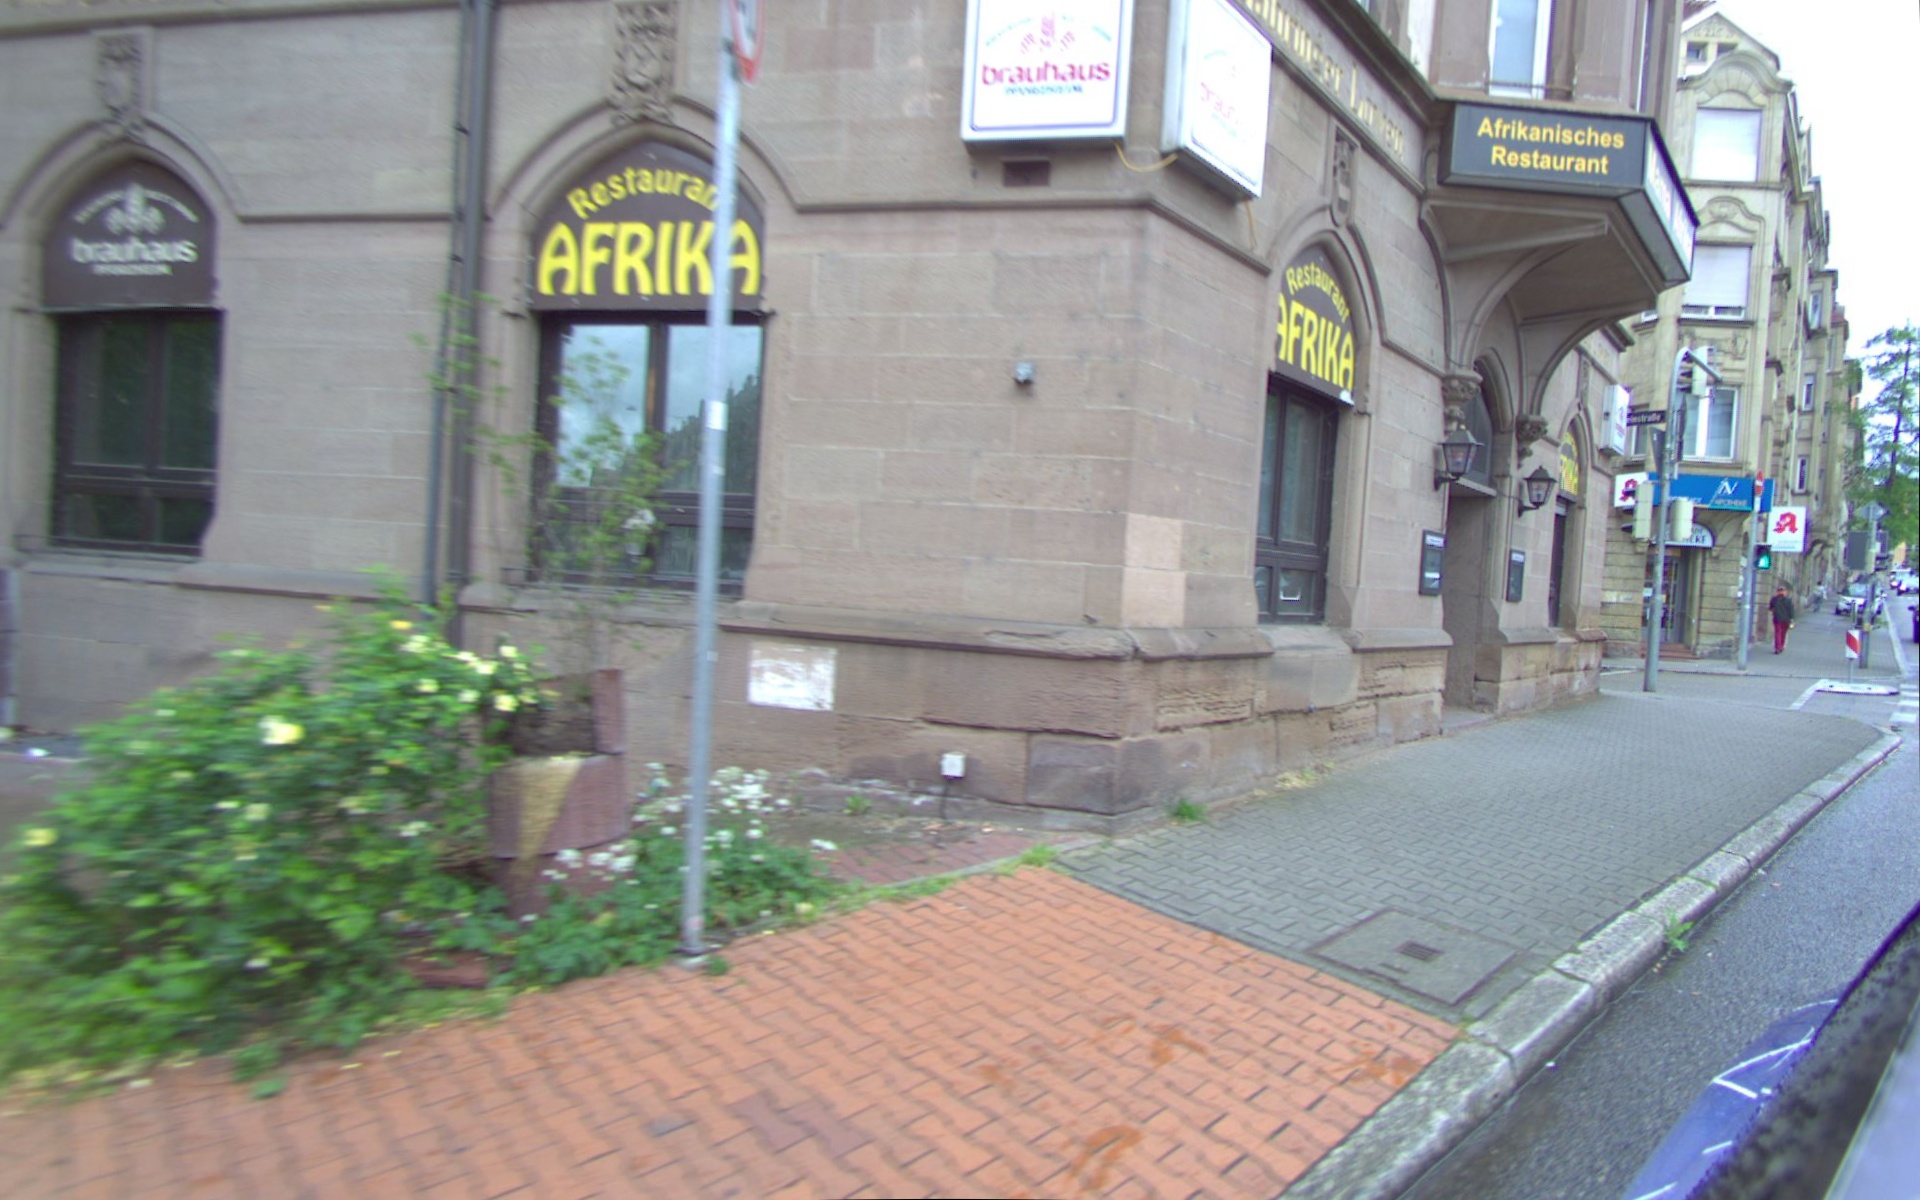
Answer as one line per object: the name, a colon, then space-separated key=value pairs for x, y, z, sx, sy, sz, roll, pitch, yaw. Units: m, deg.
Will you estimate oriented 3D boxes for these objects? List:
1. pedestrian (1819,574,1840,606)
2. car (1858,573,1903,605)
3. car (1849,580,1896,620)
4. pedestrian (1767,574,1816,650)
pedestrian: x=43.410 y=-0.510 z=50.535 sx=0.643 sy=1.513 sz=0.681 roll=7 pitch=9 yaw=42
car: x=48.722 y=-0.613 z=53.577 sx=1.544 sy=1.503 sz=3.706 roll=8 pitch=7 yaw=42
car: x=45.069 y=-0.018 z=50.012 sx=1.523 sy=1.636 sz=3.441 roll=8 pitch=8 yaw=42
pedestrian: x=22.837 y=0.313 z=27.796 sx=1.071 sy=1.971 sz=0.700 roll=-3 pitch=7 yaw=-39
